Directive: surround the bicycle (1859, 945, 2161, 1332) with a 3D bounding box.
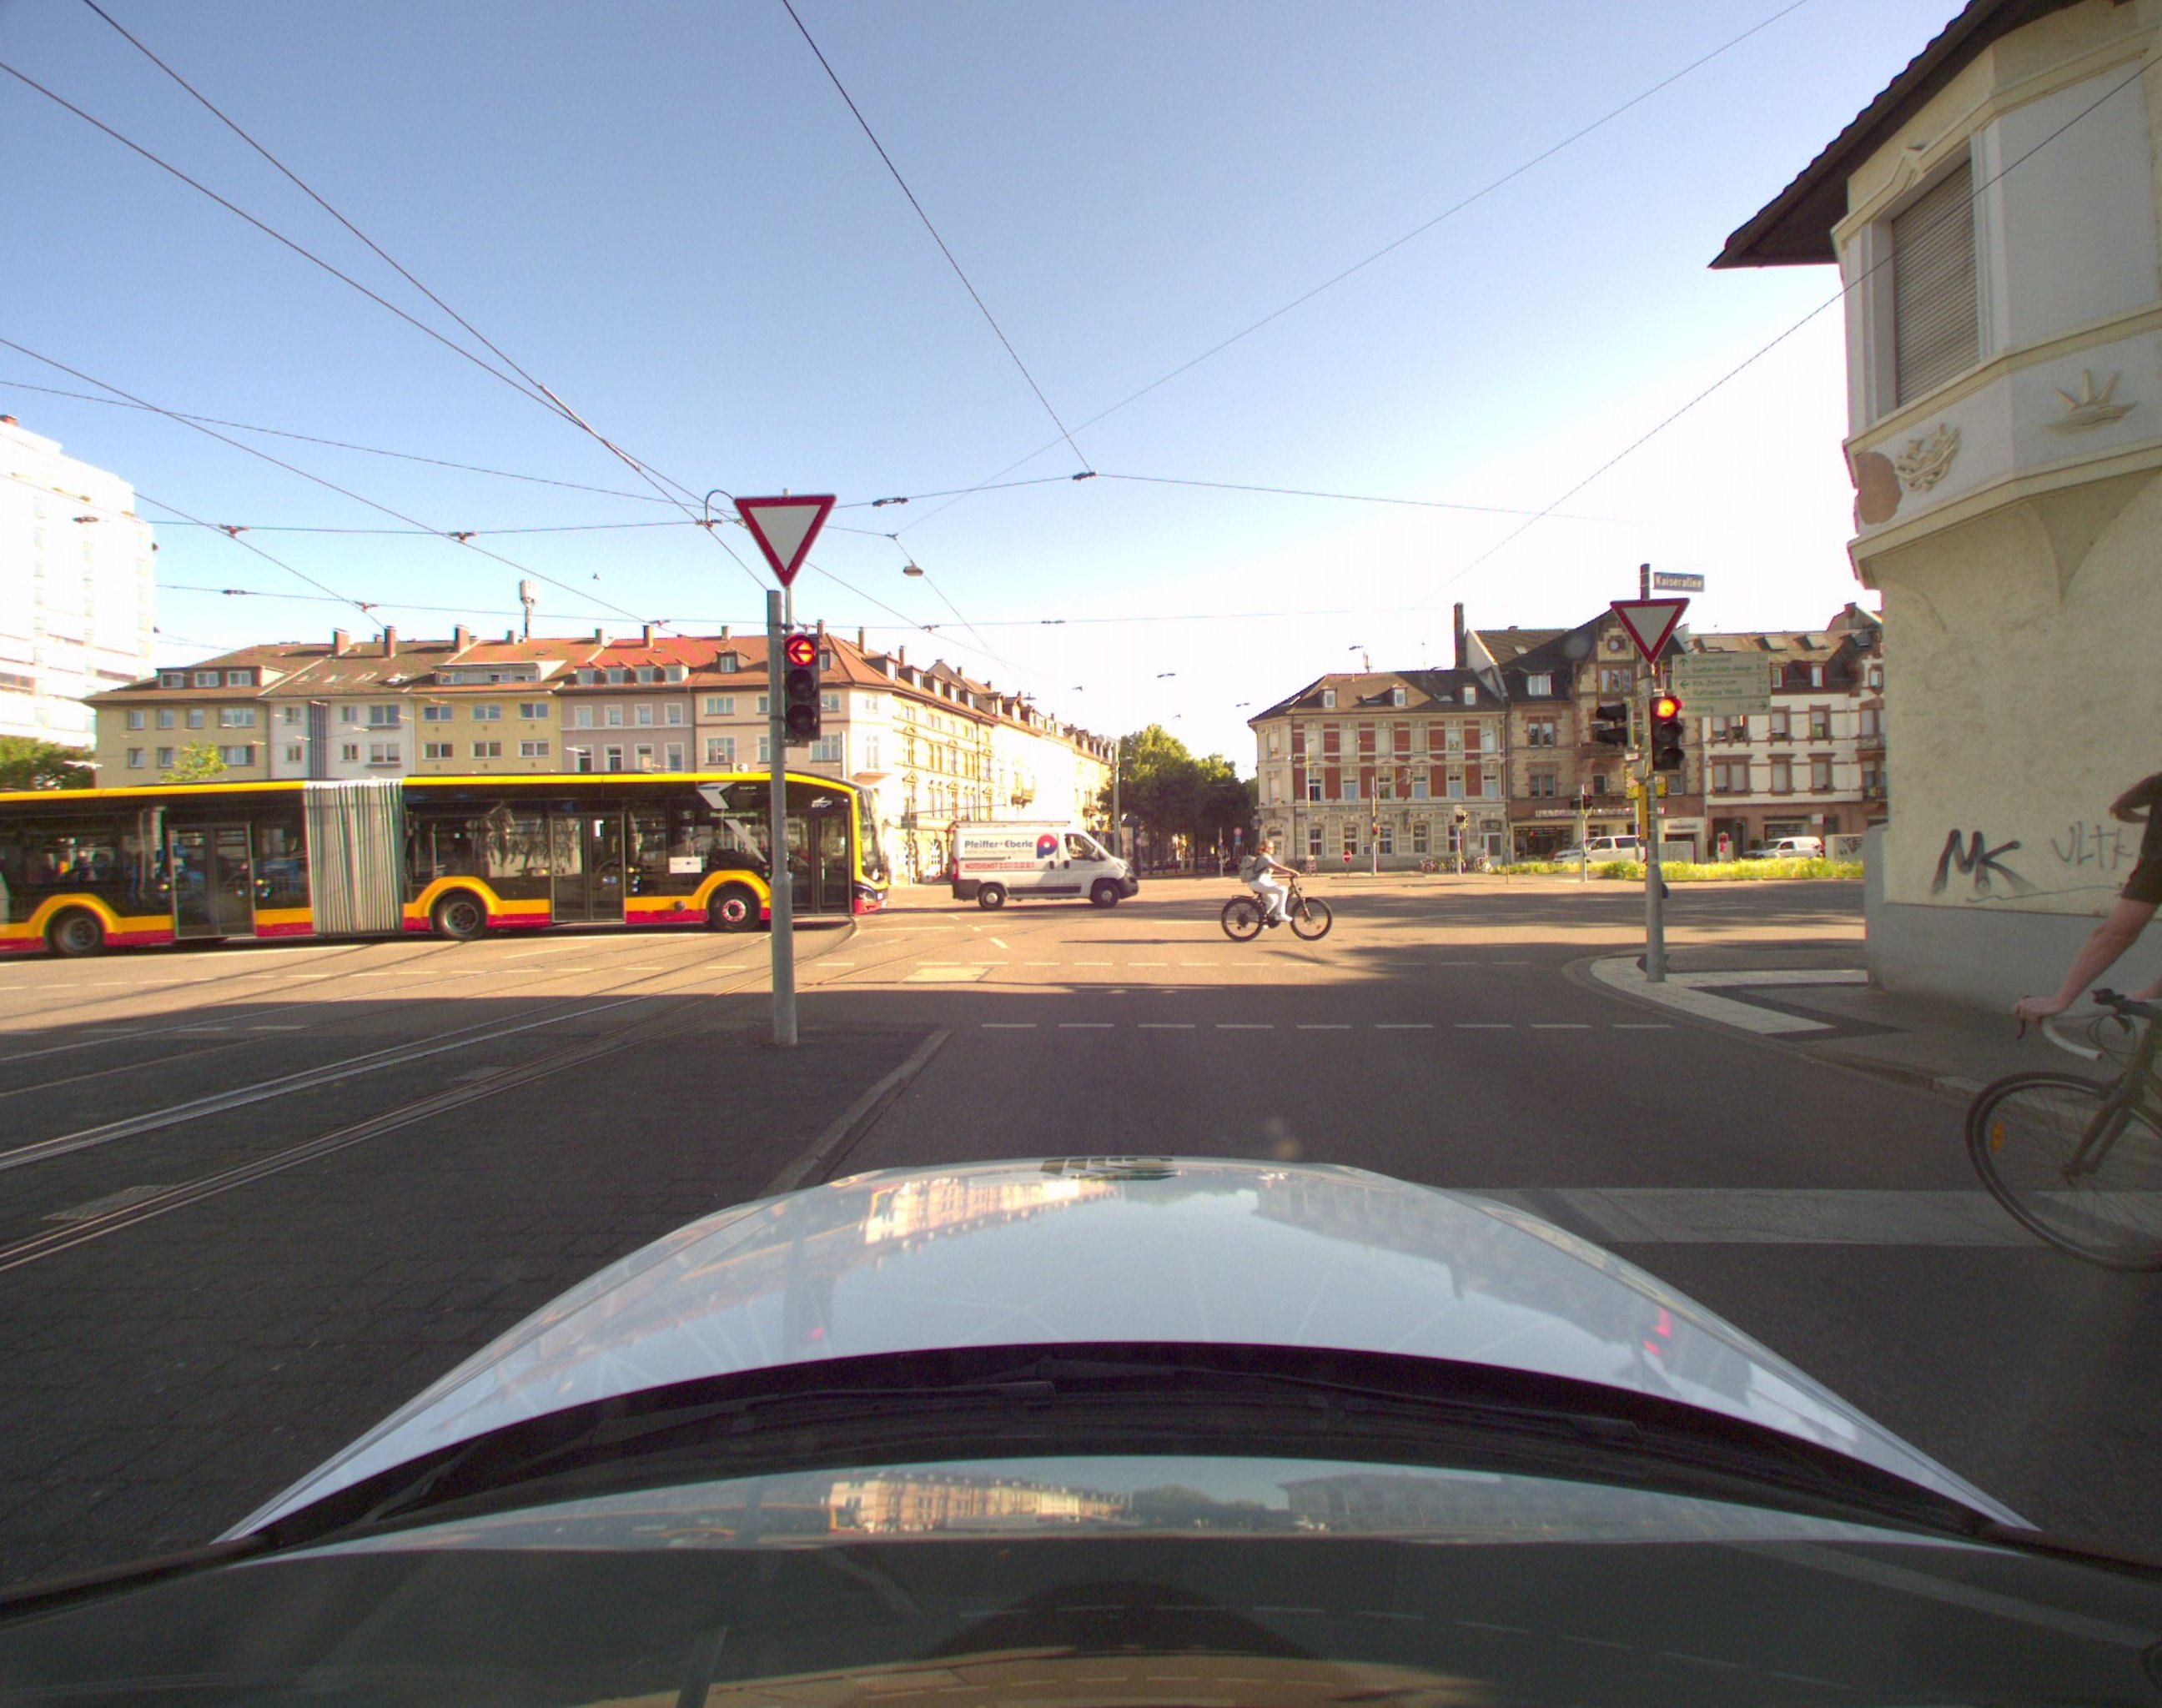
[{"bbox_3d":[3.570,0.922,2.504,0.568,1.058,1.890,-1,0,2],"label":"bicycle"}]

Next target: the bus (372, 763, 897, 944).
[{"bbox_3d":[-8.924,-0.054,17.353,9.397,3.457,2.775,0,1,-6],"label":"bus"}]

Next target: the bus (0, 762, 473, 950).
[{"bbox_3d":[-17.854,0.006,16.506,8.599,3.457,2.783,0,1,-5],"label":"bus"}]

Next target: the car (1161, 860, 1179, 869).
[{"bbox_3d":[14.330,1.700,131.262,1.977,1.404,4.189,-1,0,18],"label":"car"}]

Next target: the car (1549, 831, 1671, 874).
[{"bbox_3d":[27.131,-0.084,41.897,4.962,2.013,2.001,-1,0,1],"label":"car"}]

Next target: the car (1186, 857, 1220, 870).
[{"bbox_3d":[14.965,1.149,99.510,3.959,1.454,1.687,-1,0,13],"label":"car"}]

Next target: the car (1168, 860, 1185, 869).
[{"bbox_3d":[16.029,1.728,136.421,1.977,1.404,4.189,-1,0,18],"label":"car"}]

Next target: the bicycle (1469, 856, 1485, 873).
[{"bbox_3d":[25.635,0.669,52.766,0.483,1.020,1.789,-1,0,12],"label":"bicycle"}]

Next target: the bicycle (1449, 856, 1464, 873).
[{"bbox_3d":[24.320,0.679,52.809,0.483,1.020,1.789,-1,0,12],"label":"bicycle"}]

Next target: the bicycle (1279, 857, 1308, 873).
[{"bbox_3d":[14.919,0.748,57.142,1.940,1.054,0.717,-1,0,11],"label":"bicycle"}]

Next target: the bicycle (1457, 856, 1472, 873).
[{"bbox_3d":[24.823,0.675,52.718,0.483,1.020,1.789,-1,0,12],"label":"bicycle"}]

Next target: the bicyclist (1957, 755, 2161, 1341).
[{"bbox_3d":[3.569,0.579,2.502,0.649,1.767,0.995,-1,0,2],"label":"bicyclist"}]

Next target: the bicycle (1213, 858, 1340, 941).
[{"bbox_3d":[3.206,0.735,13.464,1.934,1.299,0.623,-1,0,0],"label":"bicycle"}]

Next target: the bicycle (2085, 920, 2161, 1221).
[{"bbox_3d":[4.514,0.861,2.490,0.568,1.165,1.890,-1,0,2],"label":"bicycle"}]

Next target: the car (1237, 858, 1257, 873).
[{"bbox_3d":[16.804,1.127,82.296,1.742,1.420,4.016,-1,0,14],"label":"car"}]

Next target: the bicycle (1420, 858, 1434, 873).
[{"bbox_3d":[22.489,0.730,52.981,0.483,0.914,1.789,-1,0,12],"label":"bicycle"}]

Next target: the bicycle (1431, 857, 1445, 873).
[{"bbox_3d":[23.165,0.720,52.878,0.483,1.020,1.789,-1,0,12],"label":"bicycle"}]

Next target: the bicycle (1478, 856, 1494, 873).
[{"bbox_3d":[26.339,0.665,52.922,0.483,1.020,1.789,-1,0,12],"label":"bicycle"}]

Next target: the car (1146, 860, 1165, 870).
[{"bbox_3d":[11.201,1.680,122.504,1.977,1.404,4.189,-1,0,18],"label":"car"}]

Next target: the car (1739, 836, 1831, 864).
[{"bbox_3d":[45.299,-0.245,52.487,4.239,1.622,1.999,-1,0,-1],"label":"car"}]

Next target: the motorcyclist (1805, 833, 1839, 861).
[{"bbox_3d":[37.815,-0.354,41.563,0.999,1.355,0.744,-1,0,1],"label":"motorcyclist"}]

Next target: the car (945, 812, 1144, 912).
[{"bbox_3d":[-1.003,0.194,22.159,5.103,2.432,2.077,-2,-1,-6],"label":"car"}]

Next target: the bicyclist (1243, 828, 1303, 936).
[{"bbox_3d":[3.162,0.447,13.469,0.796,1.715,0.734,-1,0,0],"label":"bicyclist"}]

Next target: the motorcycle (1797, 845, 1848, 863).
[{"bbox_3d":[37.820,0.008,41.549,2.033,0.897,0.562,-1,0,1],"label":"motorcycle"}]

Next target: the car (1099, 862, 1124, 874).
[{"bbox_3d":[3.834,1.705,102.177,1.977,1.404,4.189,-1,0,18],"label":"car"}]

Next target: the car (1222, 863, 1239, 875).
[{"bbox_3d":[17.517,1.764,95.213,1.705,1.300,4.089,-1,0,14],"label":"car"}]

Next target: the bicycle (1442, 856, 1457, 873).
[{"bbox_3d":[23.861,0.682,52.759,0.483,1.020,1.789,-1,0,12],"label":"bicycle"}]
